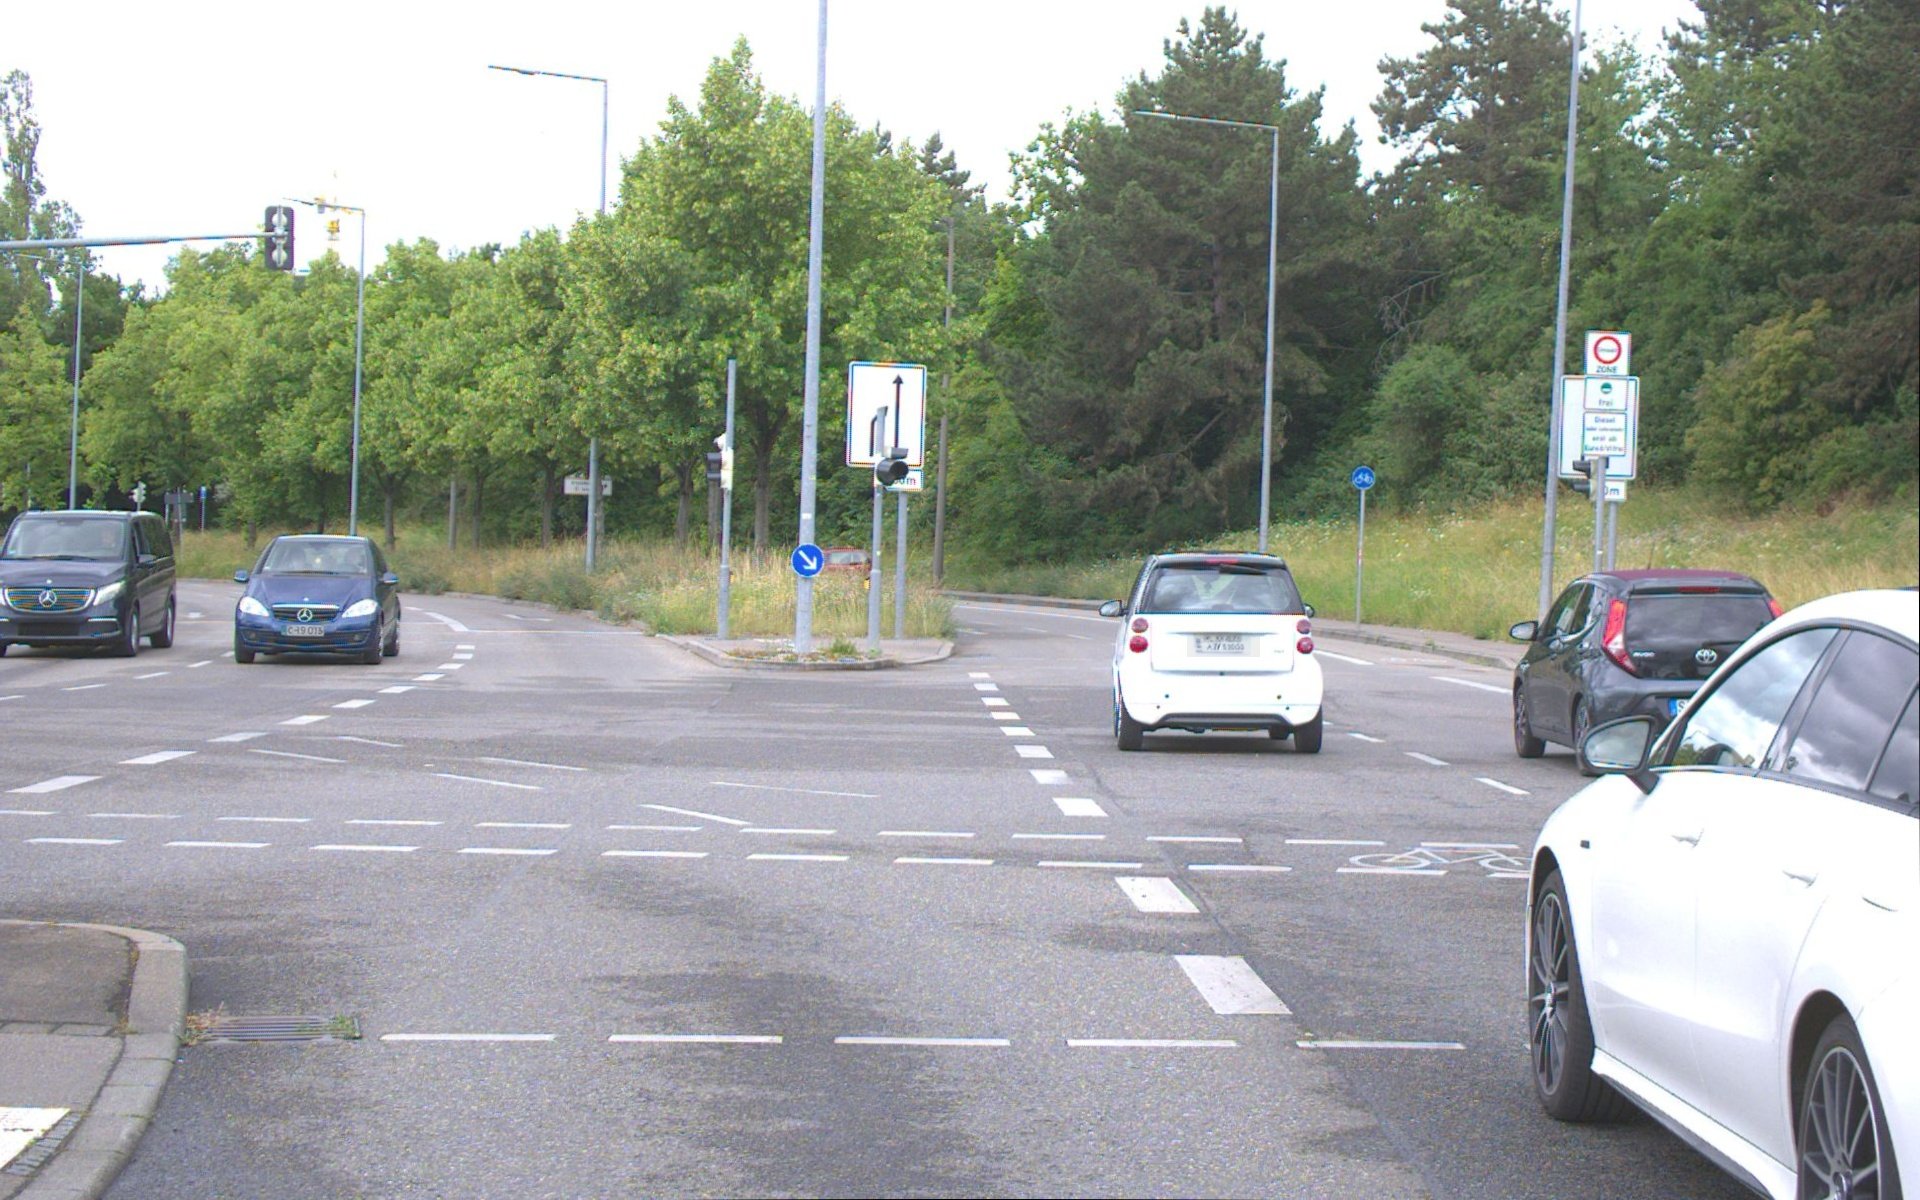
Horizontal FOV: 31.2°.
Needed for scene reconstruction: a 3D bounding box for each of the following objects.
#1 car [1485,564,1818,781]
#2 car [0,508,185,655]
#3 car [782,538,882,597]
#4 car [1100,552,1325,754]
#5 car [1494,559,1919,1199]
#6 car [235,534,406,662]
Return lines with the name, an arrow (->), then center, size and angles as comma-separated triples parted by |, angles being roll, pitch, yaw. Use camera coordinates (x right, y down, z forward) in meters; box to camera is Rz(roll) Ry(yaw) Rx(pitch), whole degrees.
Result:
car -> 4.982, 0.474, 25.229 | 1.613, 1.448, 3.882 | 1, 0, 0
car -> -11.422, -0.269, 44.905 | 1.887, 1.806, 5.093 | 0, 1, -5
car -> -3.591, -0.915, 95.759 | 1.784, 1.598, 3.888 | 1, 0, -18
car -> 1.965, 0.388, 27.398 | 1.592, 1.511, 2.766 | 1, 0, 0
car -> 2.456, 0.681, 7.336 | 1.844, 1.501, 4.531 | 1, 0, -1
car -> -7.956, -0.042, 43.043 | 1.735, 1.503, 3.661 | 1, 0, -5
